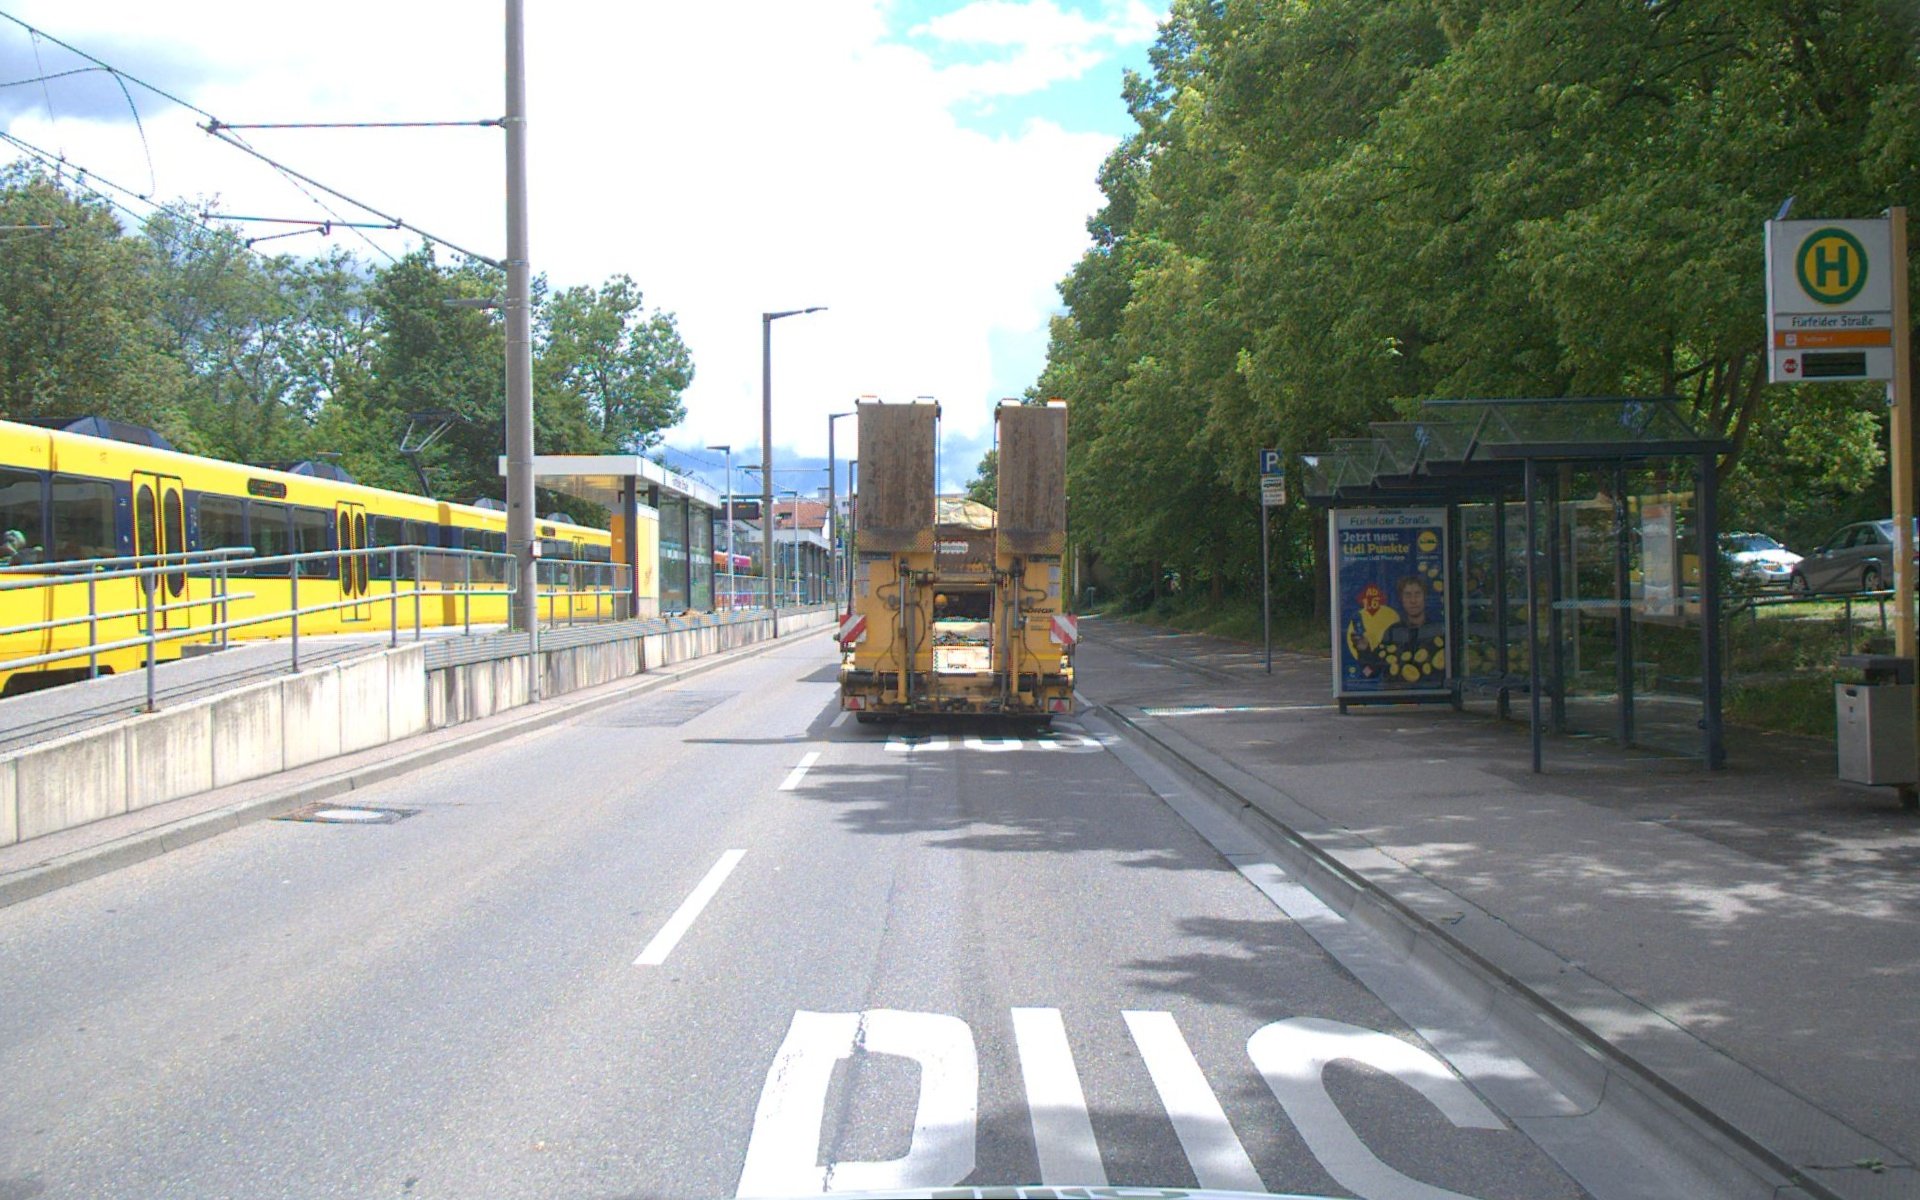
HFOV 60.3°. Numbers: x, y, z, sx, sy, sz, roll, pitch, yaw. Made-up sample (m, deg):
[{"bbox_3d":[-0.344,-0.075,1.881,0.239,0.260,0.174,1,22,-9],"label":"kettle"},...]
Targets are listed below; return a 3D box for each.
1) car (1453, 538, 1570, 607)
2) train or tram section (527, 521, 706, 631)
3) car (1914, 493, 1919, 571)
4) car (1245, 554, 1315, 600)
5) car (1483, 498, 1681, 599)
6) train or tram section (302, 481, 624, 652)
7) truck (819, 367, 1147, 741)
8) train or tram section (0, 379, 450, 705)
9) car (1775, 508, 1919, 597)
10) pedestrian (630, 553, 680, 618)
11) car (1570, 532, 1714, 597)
[{"bbox_3d":[13.836,-0.659,41.657,1.658,1.534,3.622,-4,0,0],"label":"car"},{"bbox_3d":[-12.522,-0.791,62.876,3.045,3.525,19.195,1,0,-1],"label":"train or tram section"},{"bbox_3d":[19.707,-1.254,30.554,1.580,1.821,4.207,-4,0,-1],"label":"car"},{"bbox_3d":[11.660,-0.813,60.537,1.680,1.534,4.159,-4,0,0],"label":"car"},{"bbox_3d":[11.304,-0.880,30.430,1.809,1.691,4.723,-1,0,0],"label":"car"},{"bbox_3d":[-12.233,-0.714,43.809,3.045,3.525,18.993,1,0,-1],"label":"train or tram section"},{"bbox_3d":[-0.118,-0.505,23.896,3.334,3.797,13.730,-1,0,-3],"label":"truck"},{"bbox_3d":[-12.000,-0.653,24.883,3.045,3.525,18.822,1,0,-1],"label":"train or tram section"},{"bbox_3d":[16.641,-0.842,29.867,1.580,1.467,4.352,-4,0,-1],"label":"car"},{"bbox_3d":[-5.904,-0.272,32.042,0.779,1.207,0.919,-3,0,-2],"label":"pedestrian"},{"bbox_3d":[16.927,-0.853,41.280,1.803,1.445,4.123,-3,0,0],"label":"car"}]
